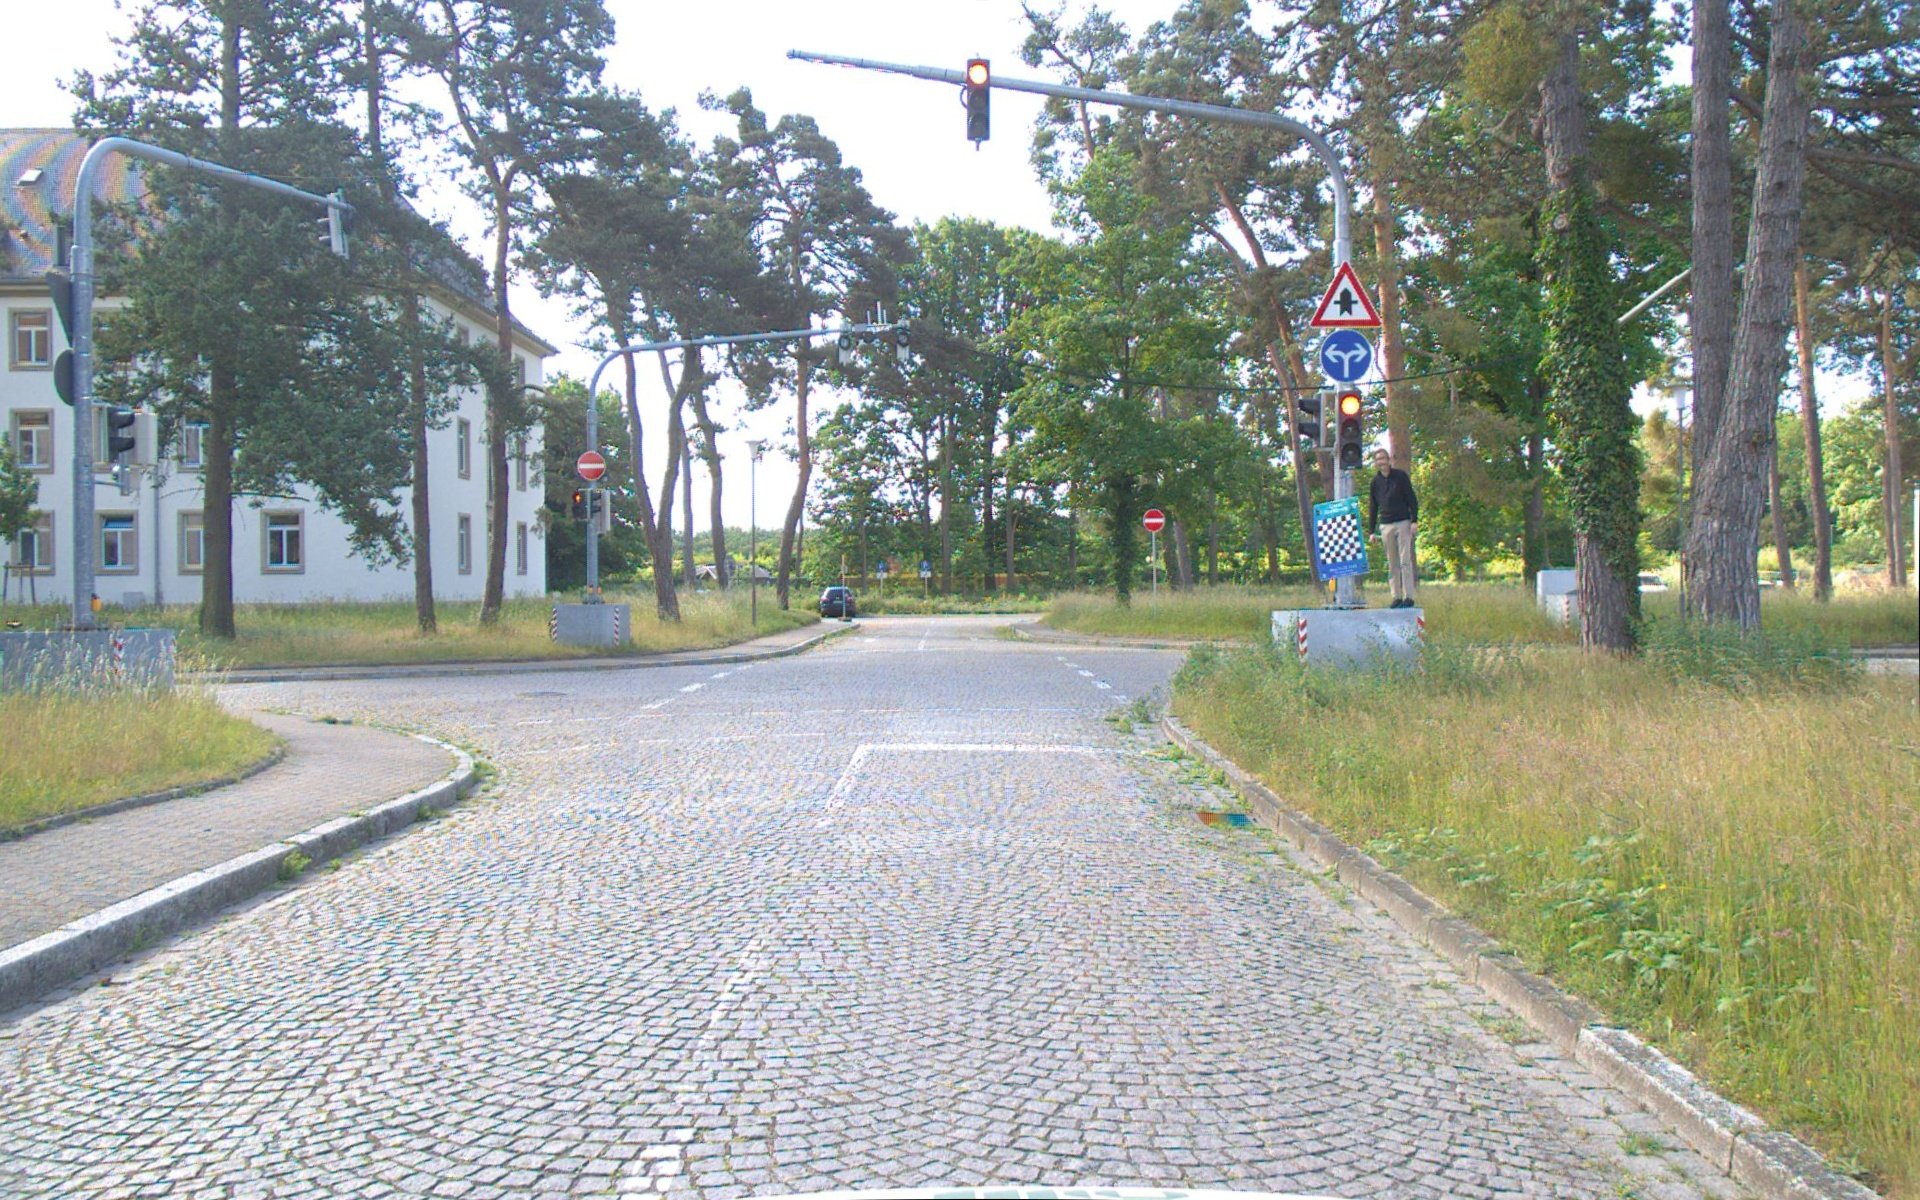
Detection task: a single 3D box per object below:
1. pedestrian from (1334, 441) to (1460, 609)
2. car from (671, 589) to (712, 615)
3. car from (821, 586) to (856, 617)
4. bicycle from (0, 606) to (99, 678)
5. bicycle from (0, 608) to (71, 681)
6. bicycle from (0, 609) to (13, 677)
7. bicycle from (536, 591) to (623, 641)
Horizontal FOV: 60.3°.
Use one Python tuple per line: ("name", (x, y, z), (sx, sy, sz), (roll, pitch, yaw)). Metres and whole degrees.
("pedestrian", (5.002, -0.831, 18.904), (1.146, 1.827, 1.061), (-1, 1, 29))
("car", (-14.106, 0.092, 87.110), (1.675, 1.296, 3.917), (-1, 1, -3))
("car", (-6.324, 0.059, 86.466), (1.675, 1.522, 3.917), (-1, 1, -3))
("bicycle", (-16.585, 0.749, 29.695), (1.905, 1.242, 0.635), (-1, 0, -1))
("bicycle", (-16.677, 0.778, 28.979), (1.824, 1.242, 0.635), (-1, 0, -1))
("bicycle", (-17.924, 0.804, 29.713), (0.620, 1.242, 2.114), (-1, 1, -1))
("bicycle", (-8.497, 0.345, 37.046), (0.623, 1.084, 1.942), (0, 1, 38))
